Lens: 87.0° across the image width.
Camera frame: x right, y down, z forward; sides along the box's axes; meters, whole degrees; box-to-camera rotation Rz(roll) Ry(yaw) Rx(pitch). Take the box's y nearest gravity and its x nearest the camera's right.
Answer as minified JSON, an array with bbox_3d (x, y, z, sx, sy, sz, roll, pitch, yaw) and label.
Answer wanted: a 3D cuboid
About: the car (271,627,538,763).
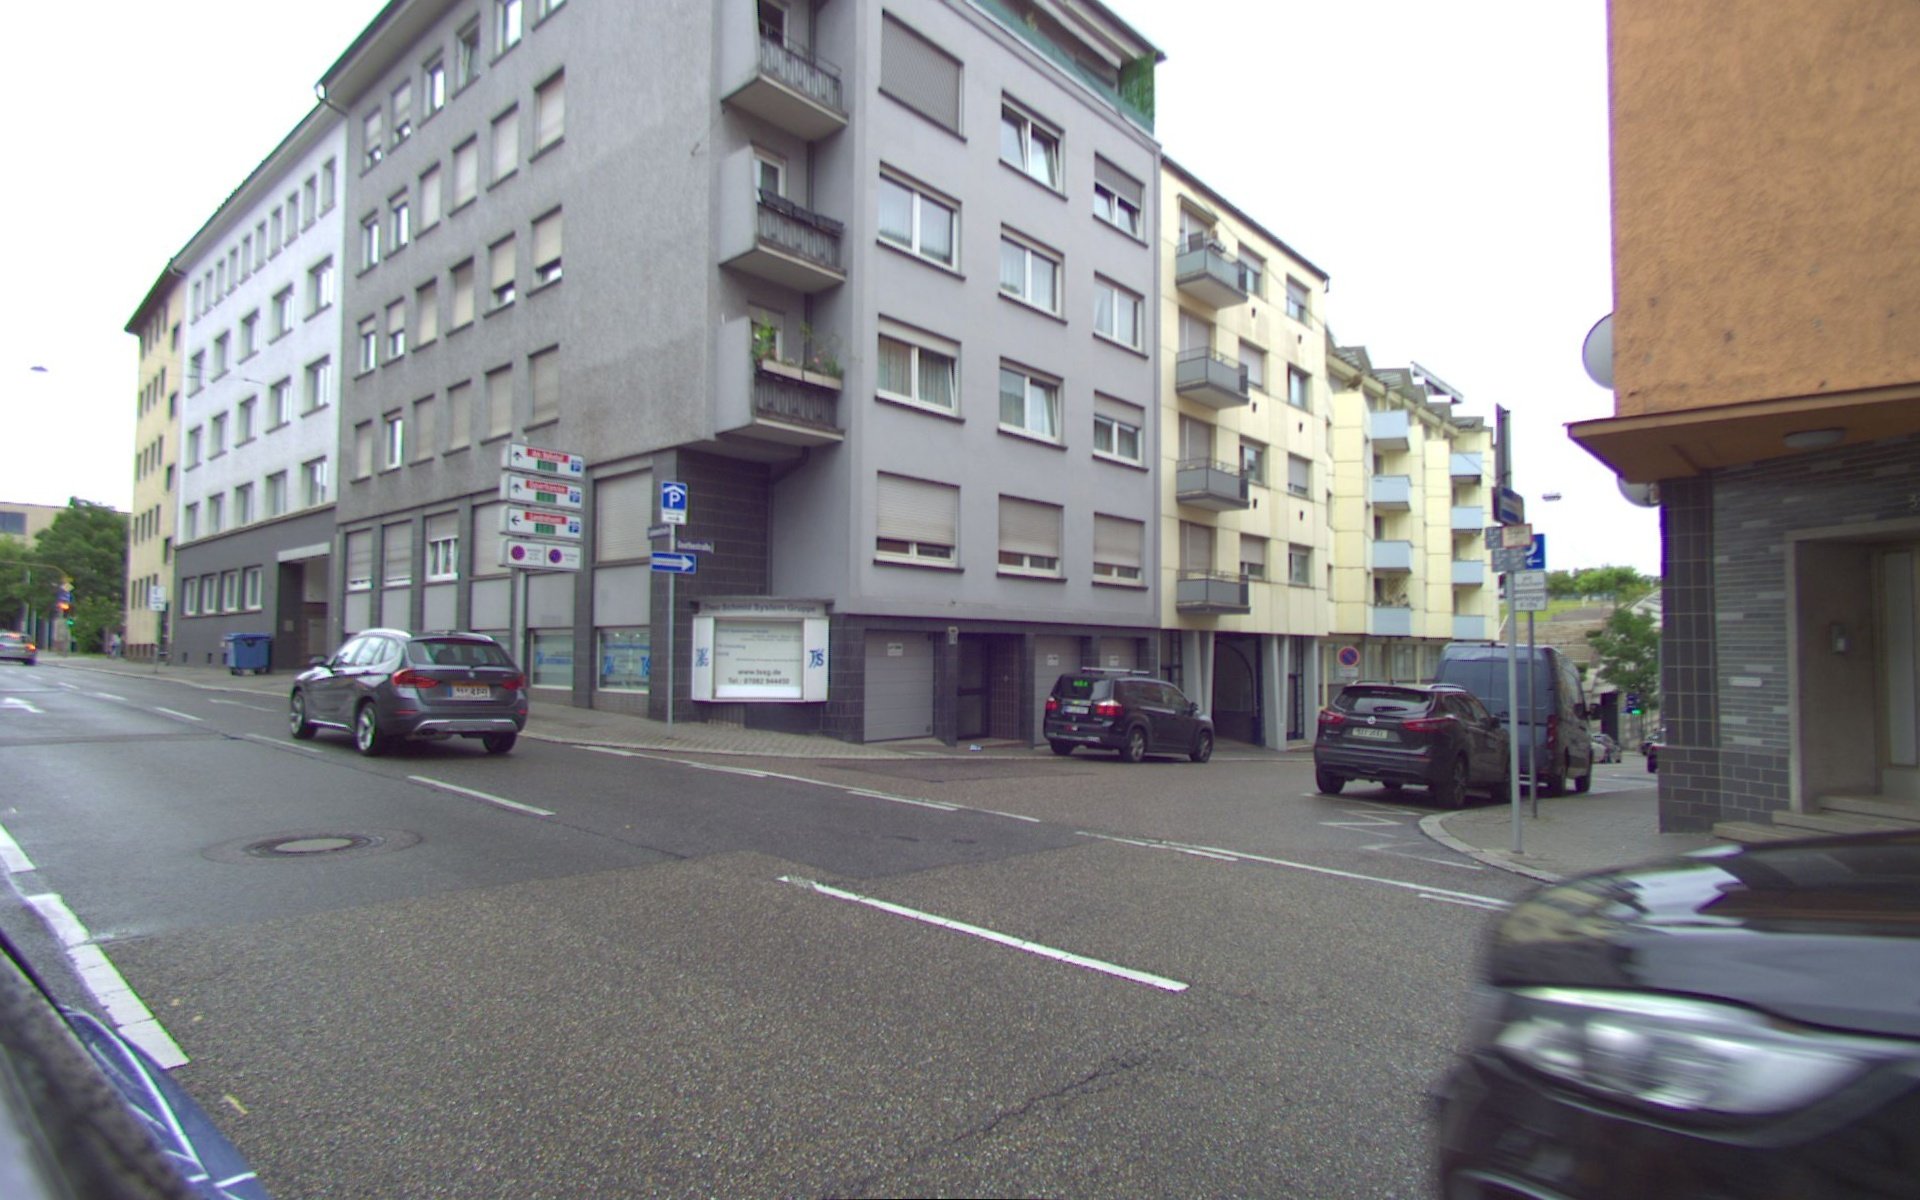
[{"bbox_3d":[-7.444,1.169,13.404,4.157,1.519,1.685,-1,-5,41],"label":"car"}]

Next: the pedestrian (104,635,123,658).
[{"bbox_3d":[-43.812,2.394,52.360,0.573,1.158,0.408,4,-4,-22],"label":"pedestrian"}]

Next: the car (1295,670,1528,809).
[{"bbox_3d":[6.429,1.950,14.145,1.842,1.589,4.098,-1,-8,41],"label":"car"}]

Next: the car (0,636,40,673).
[{"bbox_3d":[-43.988,2.459,46.616,4.371,1.602,1.858,-1,-3,41],"label":"car"}]

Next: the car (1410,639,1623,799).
[{"bbox_3d":[10.523,2.220,18.841,2.249,2.480,5.975,-1,-7,41],"label":"car"}]

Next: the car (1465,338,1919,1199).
[{"bbox_3d":[2.946,0.621,0.579,4.471,1.740,1.817,-1,-5,41],"label":"car"}]

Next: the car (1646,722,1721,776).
[{"bbox_3d":[25.932,5.336,36.222,1.817,1.688,3.998,-1,-8,41],"label":"car"}]

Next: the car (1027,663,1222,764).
[{"bbox_3d":[3.343,2.278,19.911,1.794,1.700,4.186,-1,-8,41],"label":"car"}]

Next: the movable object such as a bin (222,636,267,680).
[{"bbox_3d":[-22.889,1.848,32.390,1.096,1.343,0.933,-1,0,41],"label":"movable object such as a bin"}]
